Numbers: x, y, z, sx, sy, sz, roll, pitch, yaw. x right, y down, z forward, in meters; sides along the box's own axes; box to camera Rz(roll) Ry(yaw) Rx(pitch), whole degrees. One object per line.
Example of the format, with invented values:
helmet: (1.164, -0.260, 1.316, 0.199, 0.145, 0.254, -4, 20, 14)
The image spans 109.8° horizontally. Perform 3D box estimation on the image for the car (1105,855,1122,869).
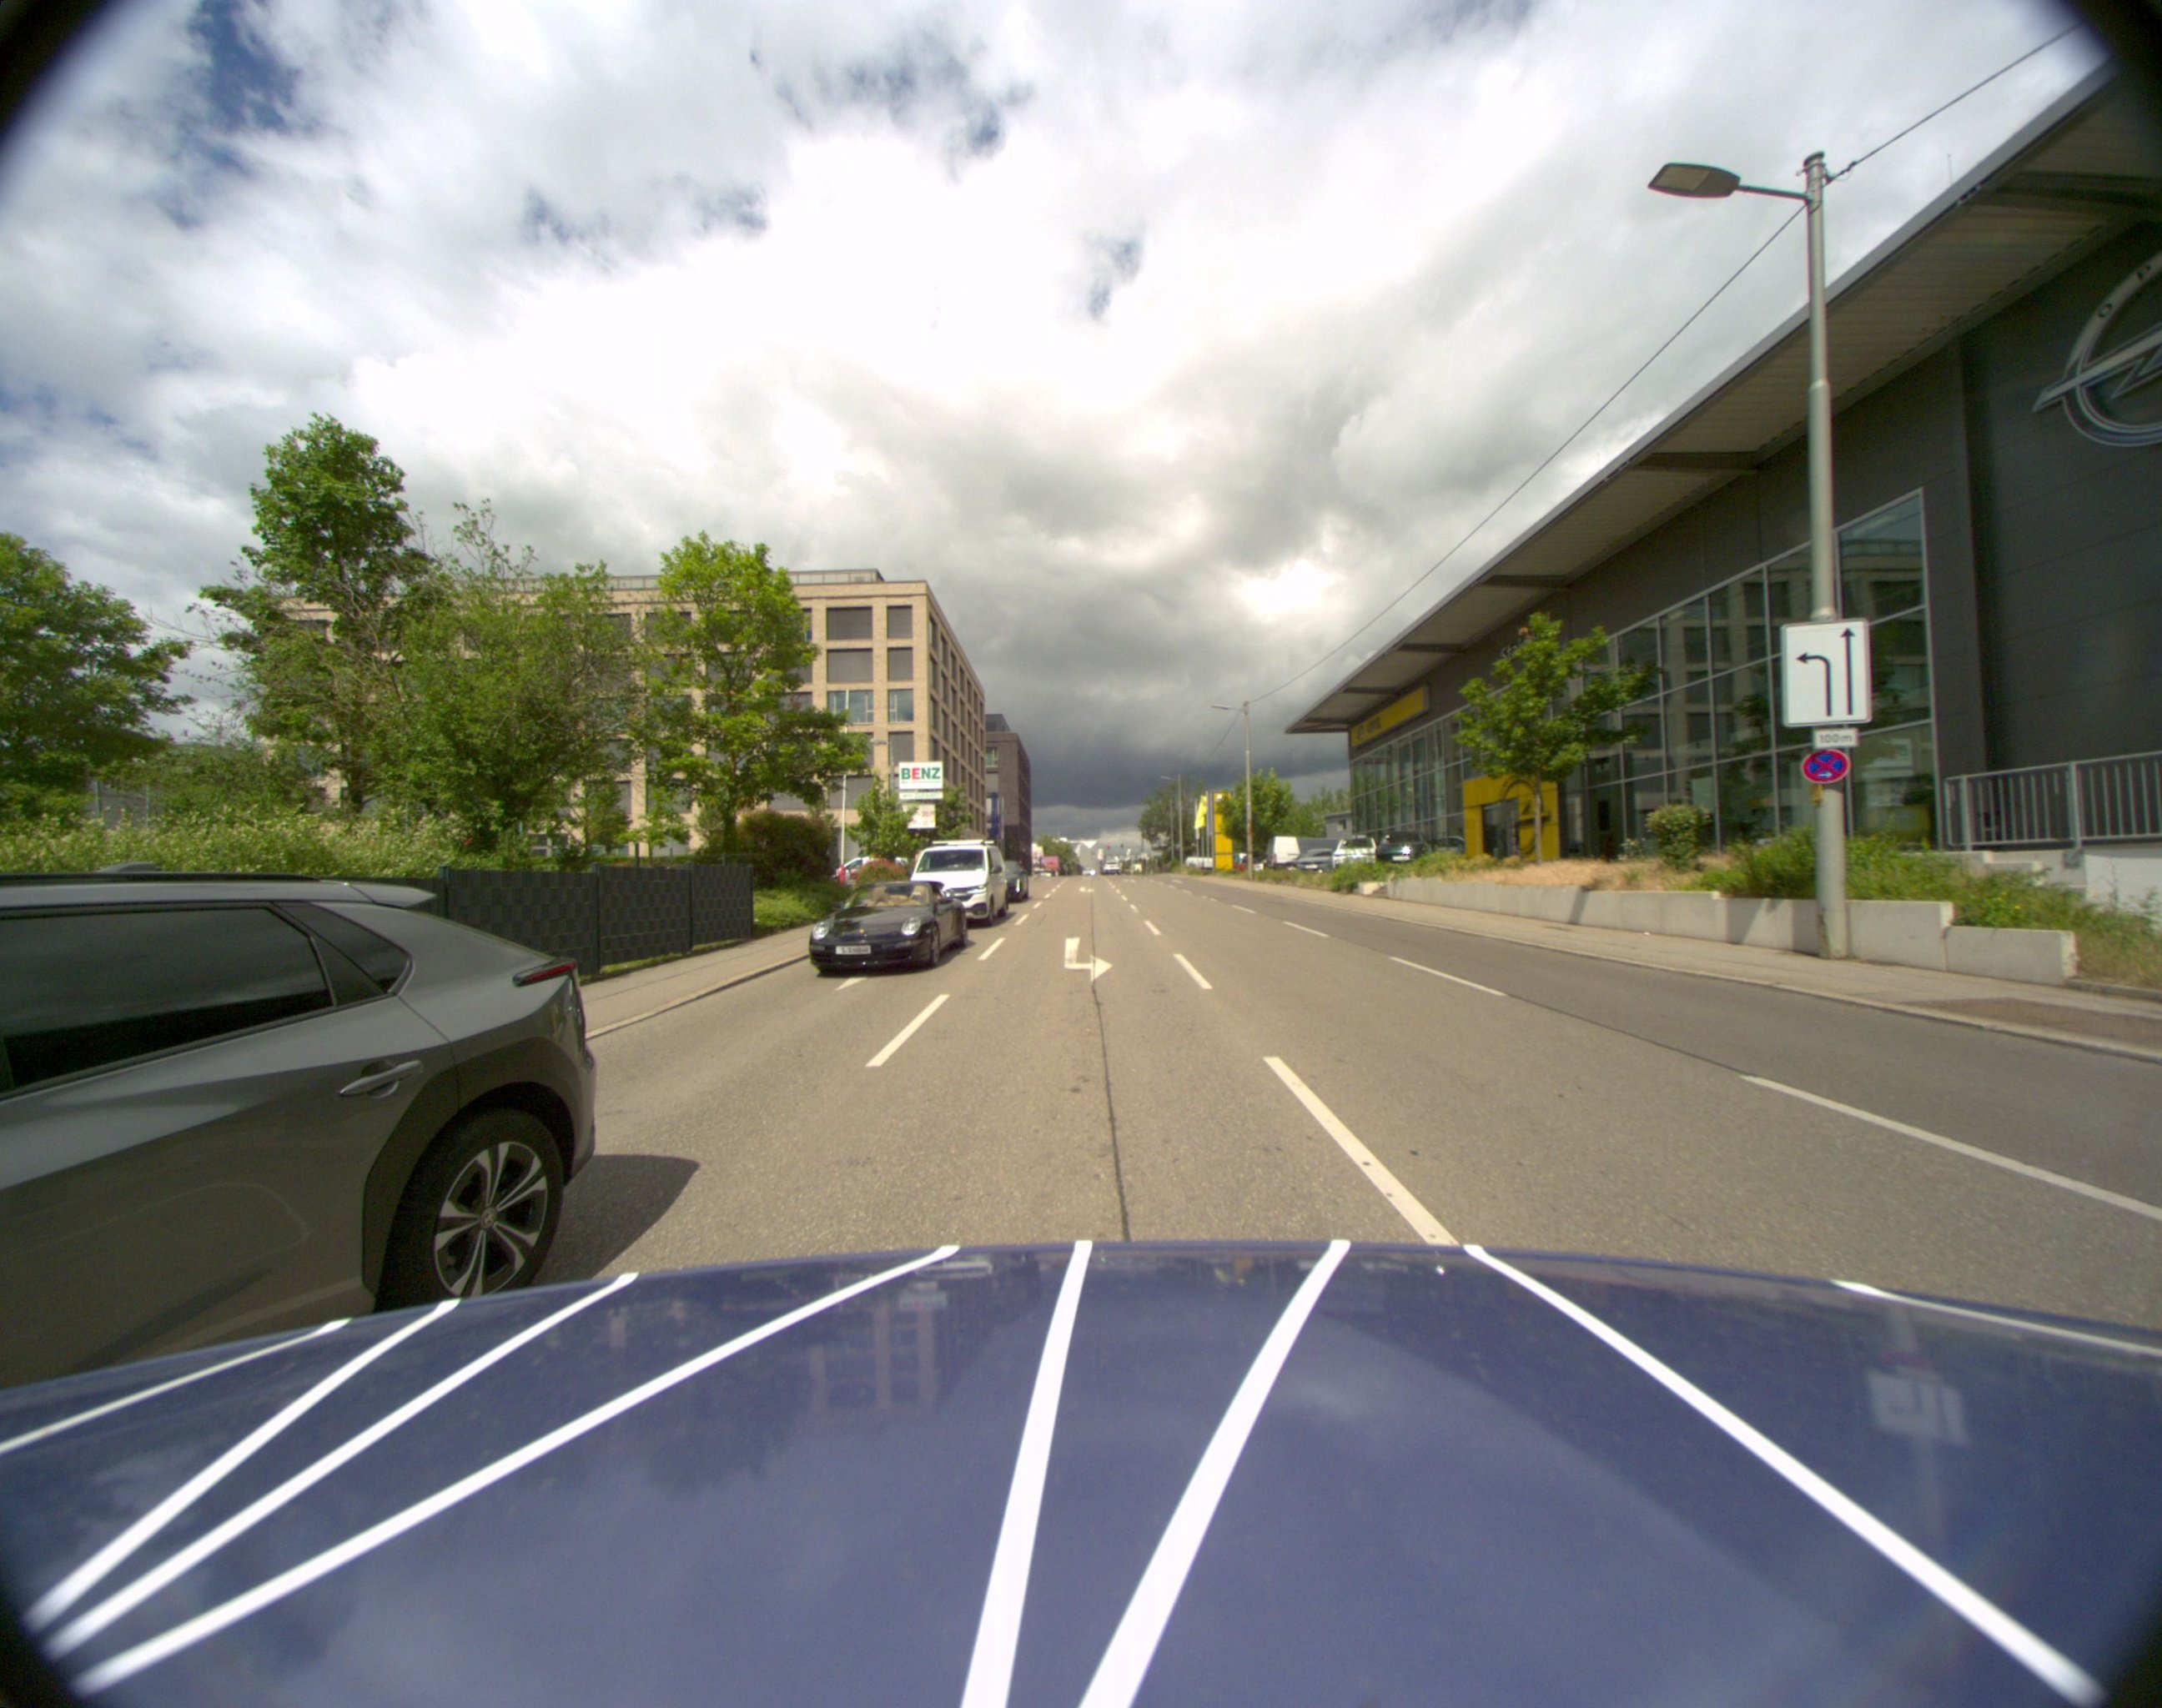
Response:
car: (3.834, 0.991, 90.096, 1.924, 1.604, 4.416, -1, 0, 1)

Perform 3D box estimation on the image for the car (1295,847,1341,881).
car: (12.215, 0.492, 39.022, 1.794, 1.604, 4.116, -1, 0, 24)

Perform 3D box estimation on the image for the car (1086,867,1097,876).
car: (1.736, 2.937, 126.517, 1.866, 1.398, 4.000, -1, 0, 1)

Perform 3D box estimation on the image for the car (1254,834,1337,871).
car: (13.458, -0.091, 47.832, 4.532, 2.182, 2.179, -1, 1, -2)

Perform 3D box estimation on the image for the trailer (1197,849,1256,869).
trailer: (13.141, 0.465, 68.691, 4.835, 1.742, 2.095, -1, 0, -3)

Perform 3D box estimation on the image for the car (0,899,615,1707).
car: (-3.000, 1.027, 0.873, 1.924, 1.604, 4.683, -3, 0, 1)

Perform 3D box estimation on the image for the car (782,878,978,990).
car: (-2.973, 1.138, 12.336, 1.777, 1.267, 4.569, -3, 0, 2)

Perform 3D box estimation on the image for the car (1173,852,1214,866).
car: (12.448, 0.536, 84.387, 4.252, 1.473, 2.095, -1, 0, -2)

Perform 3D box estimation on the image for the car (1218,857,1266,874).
car: (13.700, 0.999, 64.806, 3.669, 1.401, 1.815, -1, 0, 2)

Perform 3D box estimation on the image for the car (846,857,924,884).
car: (-11.682, 0.966, 45.465, 4.220, 1.567, 1.735, -1, 0, -4)

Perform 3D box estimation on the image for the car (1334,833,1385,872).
car: (12.374, -0.090, 33.626, 1.793, 1.604, 4.115, -1, 1, 25)

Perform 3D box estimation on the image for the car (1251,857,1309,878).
car: (14.956, 1.038, 57.296, 3.946, 1.518, 1.561, -1, 0, -2)

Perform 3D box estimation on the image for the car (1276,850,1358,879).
car: (13.331, 0.587, 43.023, 4.108, 1.604, 1.797, -1, 0, -8)

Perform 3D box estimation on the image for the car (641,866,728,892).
car: (-23.383, 1.454, 44.884, 4.219, 1.410, 1.735, -1, 0, -1)

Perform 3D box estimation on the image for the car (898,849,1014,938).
car: (-2.904, 0.865, 18.796, 1.964, 1.840, 4.645, -3, 0, 1)

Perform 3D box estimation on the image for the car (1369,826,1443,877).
car: (12.364, -0.081, 28.761, 1.818, 1.602, 4.117, -8, -4, 31)

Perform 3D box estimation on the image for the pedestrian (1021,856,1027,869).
pedestrian: (-6.248, 0.925, 83.187, 0.578, 1.497, 0.542, -1, 1, 1)

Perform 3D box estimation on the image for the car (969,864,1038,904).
car: (-2.781, 1.058, 28.206, 1.777, 1.267, 4.569, -1, 0, 4)
